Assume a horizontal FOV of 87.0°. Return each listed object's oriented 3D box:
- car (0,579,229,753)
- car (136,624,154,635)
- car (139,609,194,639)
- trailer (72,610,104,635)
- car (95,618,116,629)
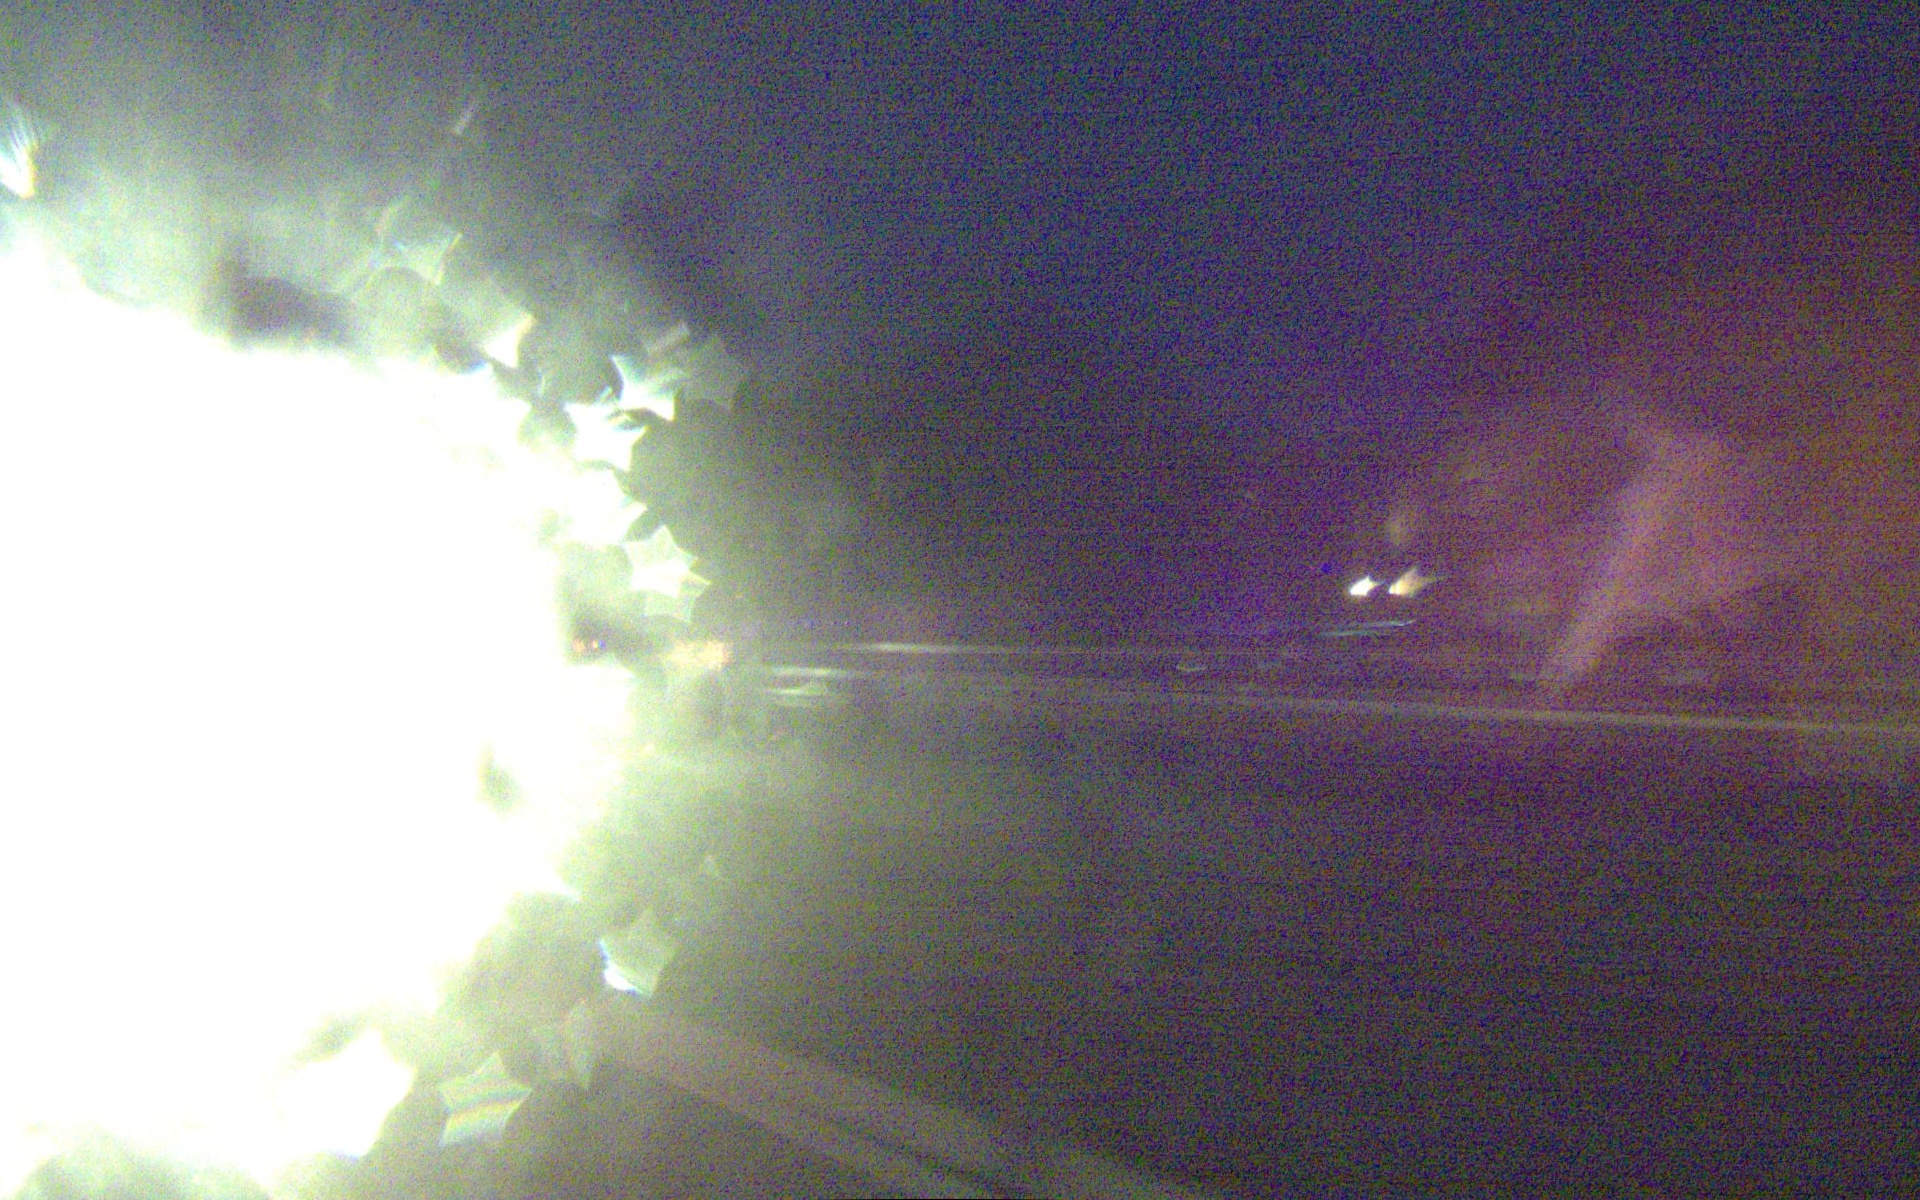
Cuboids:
[{"bbox_3d":[-12.240,0.868,14.379,4.456,2.121,1.733,-1,-3,37],"label":"car"},{"bbox_3d":[-132.069,4.772,163.975,4.001,1.726,1.810,0,-2,44],"label":"car"},{"bbox_3d":[-55.855,1.643,71.209,4.805,2.029,1.974,0,-2,39],"label":"car"},{"bbox_3d":[-131.357,3.351,152.356,10.449,3.499,2.580,0,-2,44],"label":"trailer"},{"bbox_3d":[-105.744,2.912,125.248,3.243,1.352,1.586,0,0,43],"label":"car"}]
